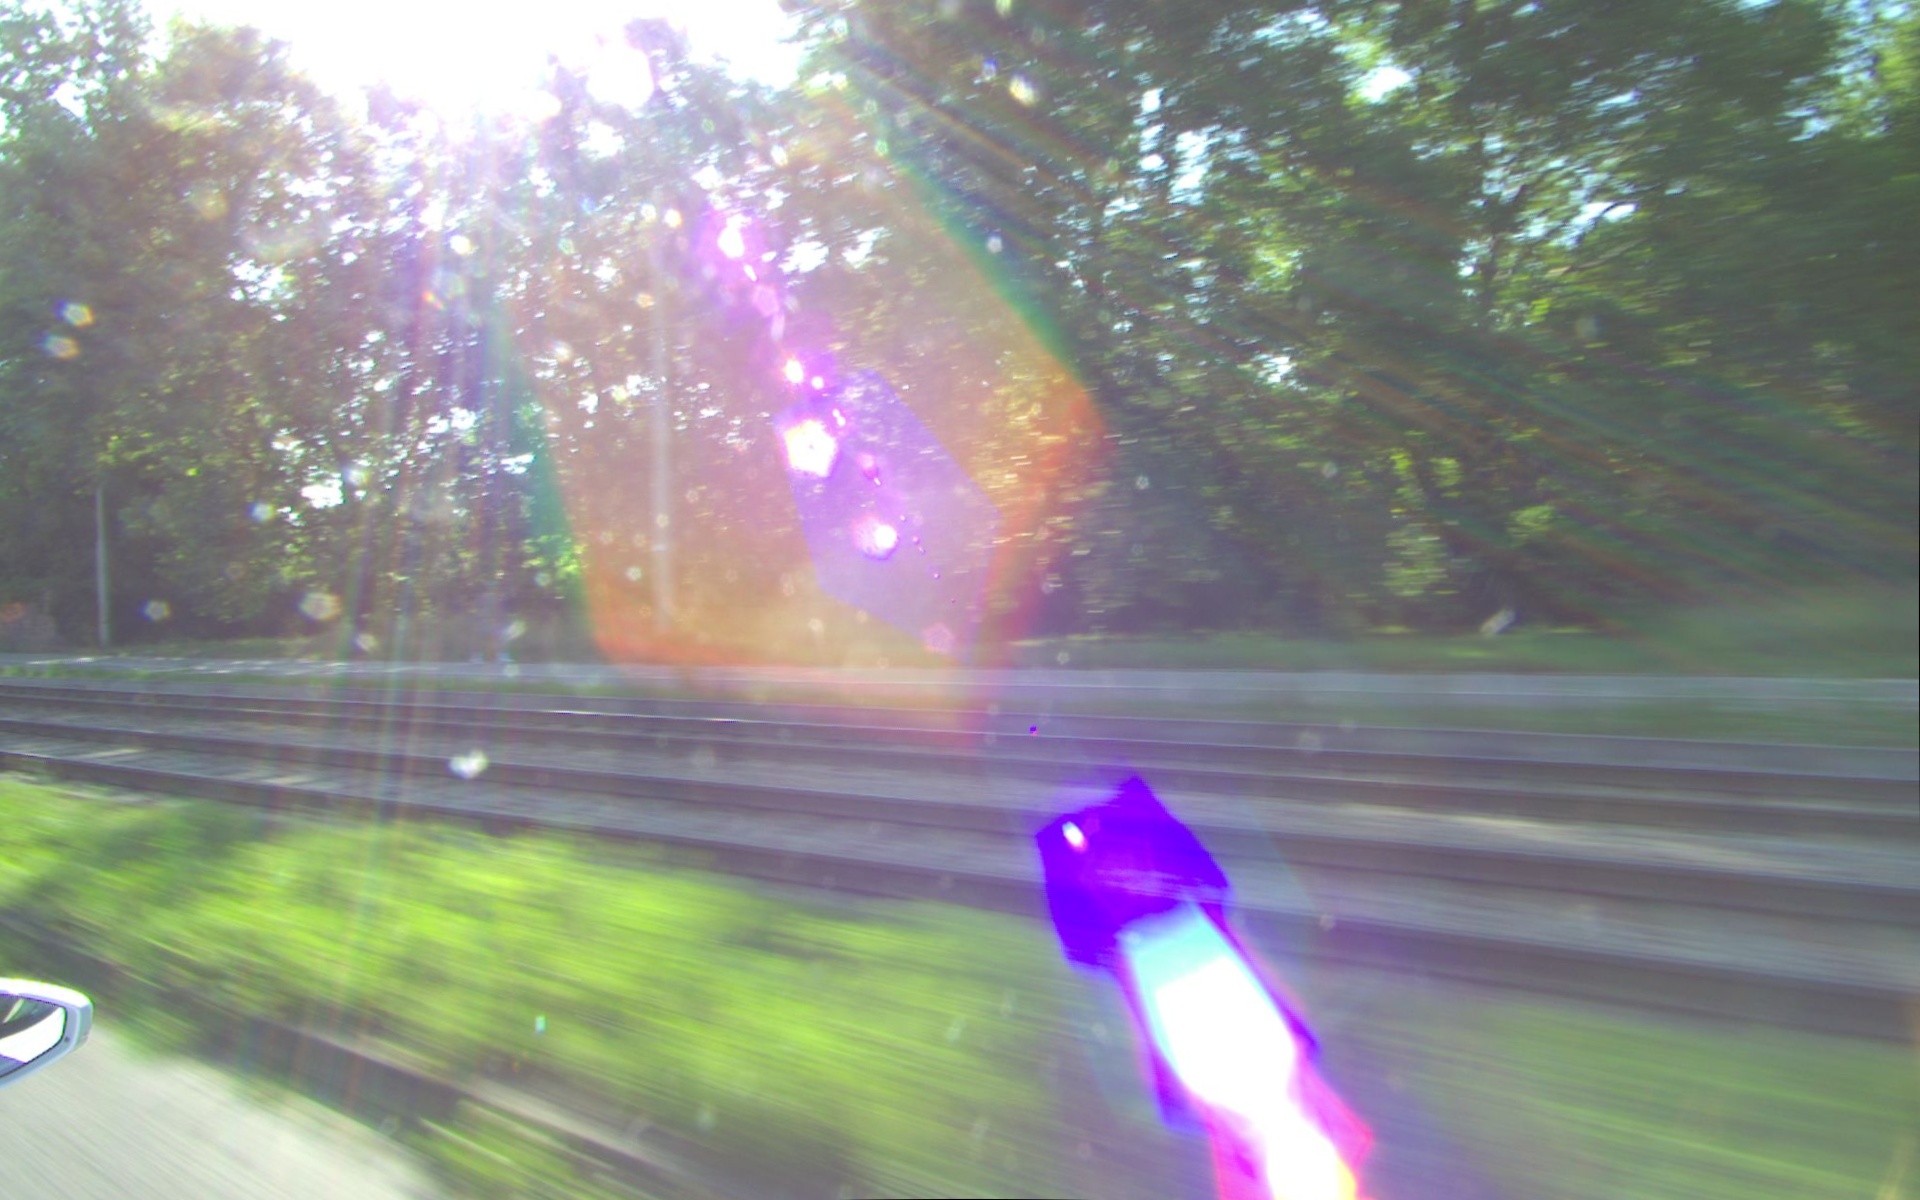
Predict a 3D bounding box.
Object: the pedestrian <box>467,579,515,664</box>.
[{"bbox_3d":[-9.791,0.435,20.896,0.874,1.739,0.498,0,1,36],"label":"pedestrian"}]
